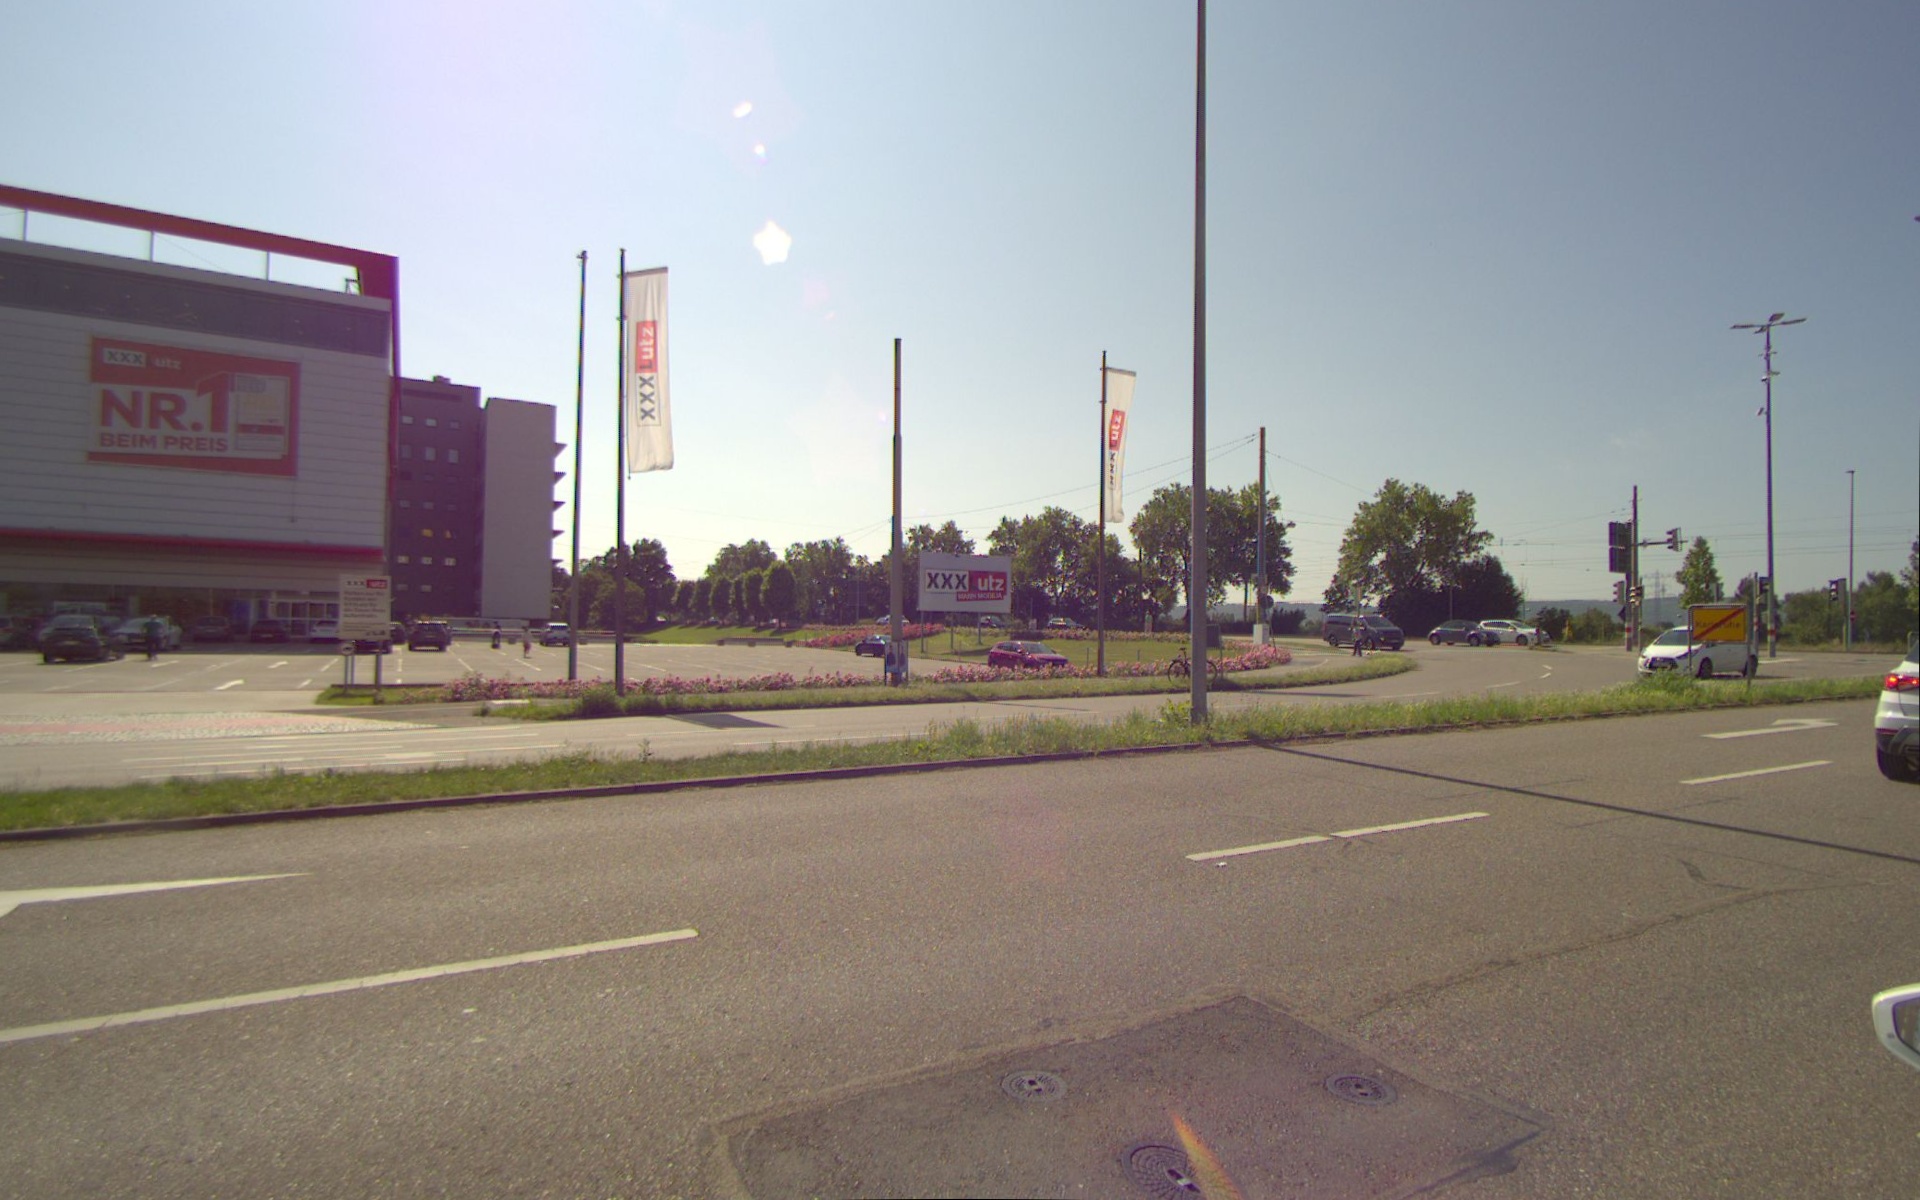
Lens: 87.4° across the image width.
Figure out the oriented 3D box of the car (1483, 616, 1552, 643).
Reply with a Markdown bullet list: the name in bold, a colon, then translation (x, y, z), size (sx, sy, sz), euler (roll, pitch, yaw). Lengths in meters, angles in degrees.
- **car**: translation (33.160, 1.730, 59.826), size (1.395, 1.519, 3.324), euler (3, -3, -33)

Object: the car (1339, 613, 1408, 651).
- **car**: translation (22.781, 1.743, 55.521), size (1.783, 1.951, 3.995), euler (0, 0, -8)

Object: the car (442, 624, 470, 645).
- **car**: translation (-34.309, 2.347, 68.347), size (1.498, 1.347, 3.073), euler (3, -2, -30)

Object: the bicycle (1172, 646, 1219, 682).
- **bicycle**: translation (6.990, 1.900, 29.790), size (1.626, 1.036, 0.328), euler (4, -4, -34)

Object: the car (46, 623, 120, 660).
- **car**: translation (-33.278, 1.563, 38.169), size (1.498, 1.347, 3.073), euler (3, -2, -30)

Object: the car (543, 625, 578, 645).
- **car**: translation (-28.371, 2.448, 71.308), size (1.731, 1.347, 3.645), euler (3, -3, -30)

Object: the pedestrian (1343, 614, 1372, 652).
- **pedestrian**: translation (18.445, 1.523, 46.596), size (0.891, 1.729, 0.839), euler (0, -2, -18)

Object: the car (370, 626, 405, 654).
- **car**: translation (-29.922, 2.078, 52.456), size (1.498, 1.347, 3.073), euler (3, -2, -30)

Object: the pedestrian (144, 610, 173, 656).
- **pedestrian**: translation (-32.828, 1.353, 41.150), size (0.743, 1.882, 0.850), euler (1, -2, -30)

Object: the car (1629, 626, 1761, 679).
- **car**: translation (23.062, 1.633, 31.509), size (4.035, 1.567, 1.787), euler (2, -2, -28)

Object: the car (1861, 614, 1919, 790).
- **car**: translation (10.284, 0.878, 9.401), size (3.822, 1.518, 1.624), euler (-1, 0, -29)

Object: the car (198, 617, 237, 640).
- **car**: translation (-45.411, 1.737, 61.487), size (1.498, 1.347, 3.073), euler (3, -2, -30)

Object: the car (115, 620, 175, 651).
- **car**: translation (-38.785, 1.671, 47.874), size (1.498, 1.347, 4.280), euler (3, -3, -30)

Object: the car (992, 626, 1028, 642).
- **car**: translation (5.077, 3.483, 102.412), size (1.742, 1.541, 3.968), euler (1, -2, -30)

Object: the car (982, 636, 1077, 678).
- **car**: translation (2.859, 2.382, 42.179), size (1.808, 1.626, 4.158), euler (3, -3, -34)

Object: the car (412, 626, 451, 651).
- **car**: translation (-30.051, 2.193, 57.063), size (1.759, 1.347, 3.073), euler (3, -2, -30)

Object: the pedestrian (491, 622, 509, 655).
- **pedestrian**: translation (-28.980, 2.401, 63.223), size (0.964, 2.040, 0.942), euler (1, -2, -29)

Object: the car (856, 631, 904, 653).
- **car**: translation (-5.325, 2.758, 66.671), size (1.709, 1.347, 3.829), euler (3, -3, -30)

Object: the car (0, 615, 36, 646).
- **car**: translation (-42.990, 1.346, 45.110), size (1.498, 1.347, 3.073), euler (3, -2, -30)

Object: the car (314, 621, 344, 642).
- **car**: translation (-39.967, 1.974, 63.653), size (1.425, 1.241, 3.073), euler (3, -2, -30)

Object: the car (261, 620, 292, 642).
- **car**: translation (-42.568, 1.919, 62.574), size (1.350, 1.283, 3.073), euler (2, -2, -30)

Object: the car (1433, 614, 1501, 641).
- **car**: translation (29.814, 1.632, 59.166), size (1.394, 1.519, 3.368), euler (3, -2, -31)

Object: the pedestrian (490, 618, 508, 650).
- **pedestrian**: translation (-29.486, 2.186, 64.207), size (0.964, 2.040, 0.942), euler (1, -2, -29)

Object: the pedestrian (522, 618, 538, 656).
- **pedestrian**: translation (-22.252, 1.927, 51.961), size (0.489, 1.920, 0.784), euler (0, -2, 1)

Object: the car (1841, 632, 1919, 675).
- **car**: translation (23.320, 1.322, 25.153), size (2.461, 1.017, 1.113), euler (1, -2, -28)

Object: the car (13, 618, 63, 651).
- **car**: translation (-45.550, 1.683, 49.666), size (1.286, 1.579, 3.216), euler (1, -2, -34)

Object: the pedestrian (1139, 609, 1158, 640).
- **pedestrian**: translation (12.135, 1.574, 64.632), size (0.906, 1.998, 0.714), euler (2, -2, -25)
